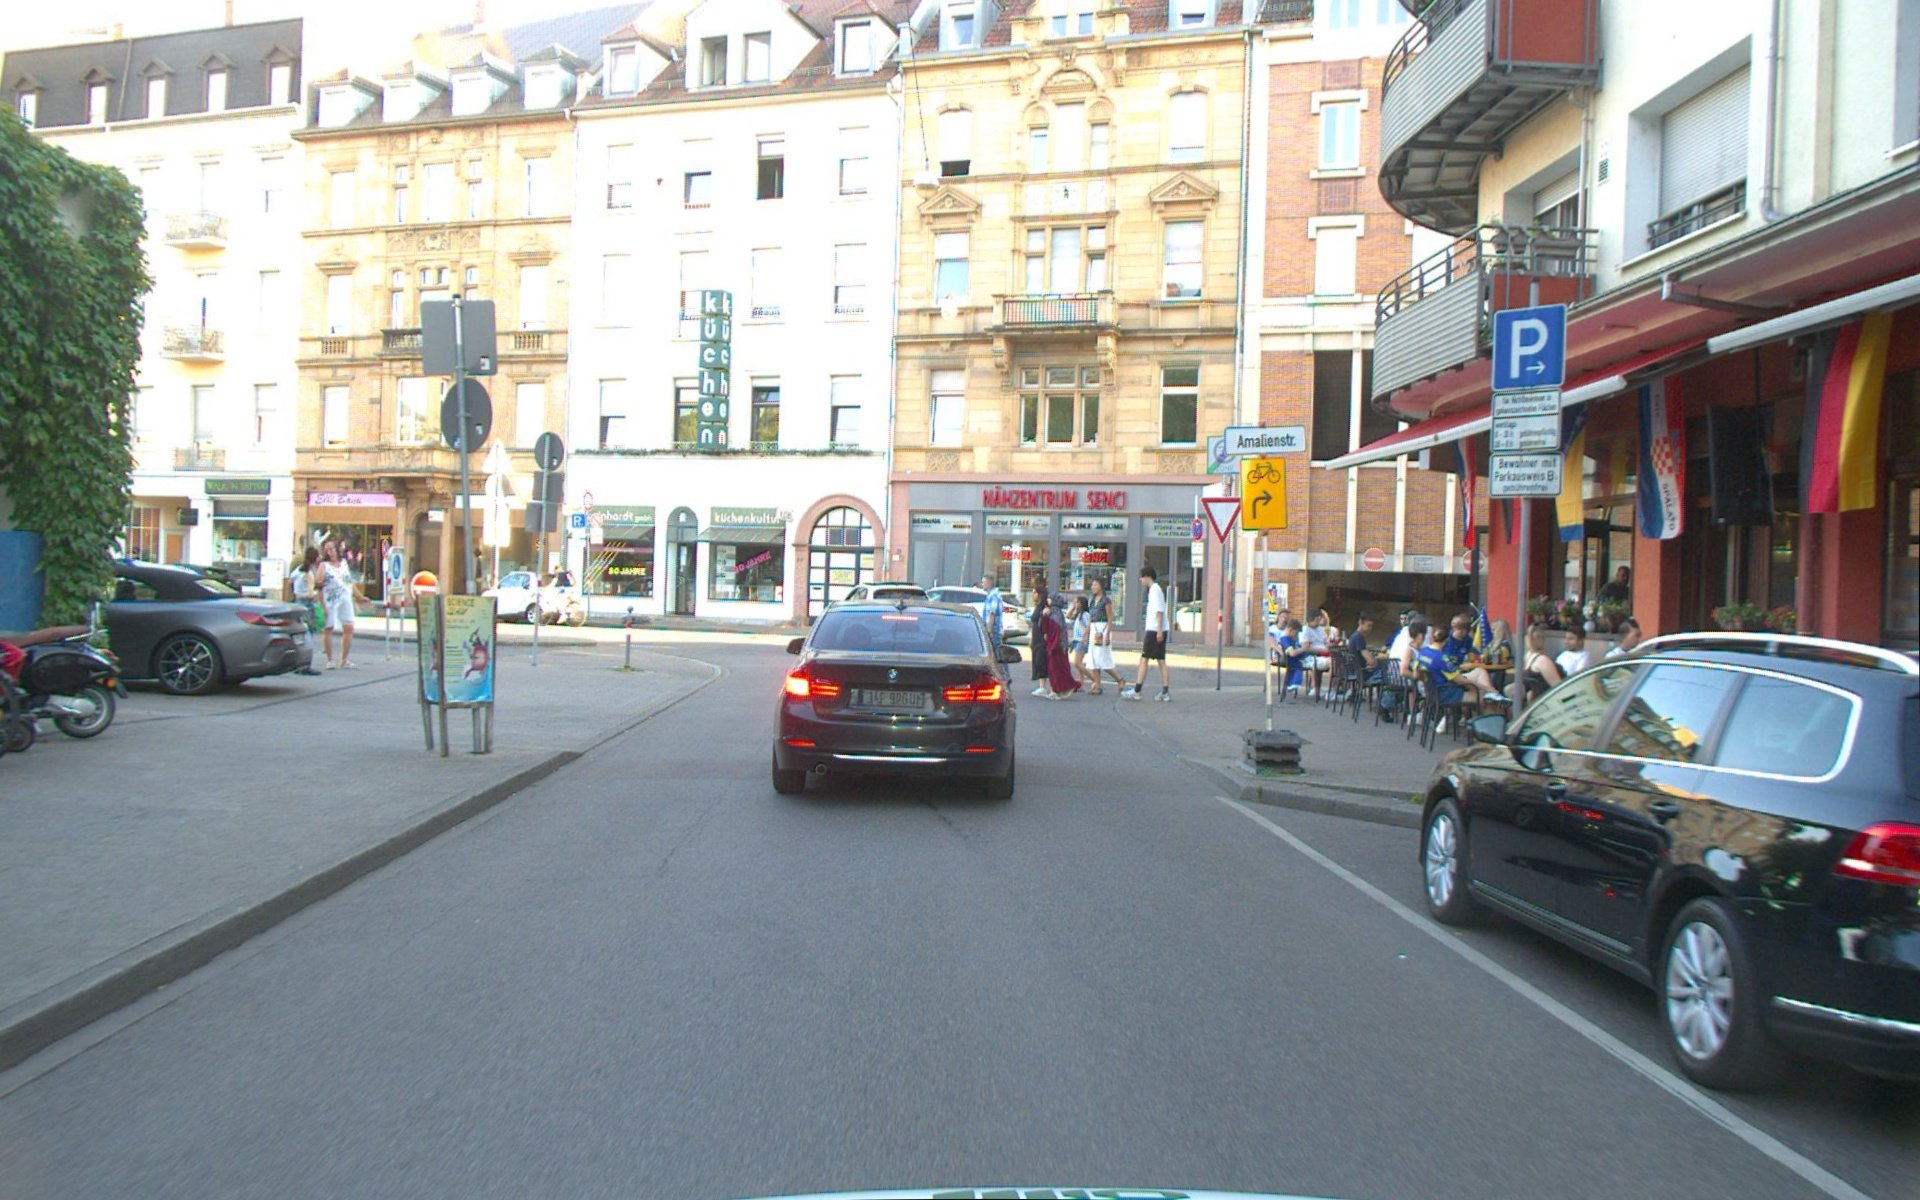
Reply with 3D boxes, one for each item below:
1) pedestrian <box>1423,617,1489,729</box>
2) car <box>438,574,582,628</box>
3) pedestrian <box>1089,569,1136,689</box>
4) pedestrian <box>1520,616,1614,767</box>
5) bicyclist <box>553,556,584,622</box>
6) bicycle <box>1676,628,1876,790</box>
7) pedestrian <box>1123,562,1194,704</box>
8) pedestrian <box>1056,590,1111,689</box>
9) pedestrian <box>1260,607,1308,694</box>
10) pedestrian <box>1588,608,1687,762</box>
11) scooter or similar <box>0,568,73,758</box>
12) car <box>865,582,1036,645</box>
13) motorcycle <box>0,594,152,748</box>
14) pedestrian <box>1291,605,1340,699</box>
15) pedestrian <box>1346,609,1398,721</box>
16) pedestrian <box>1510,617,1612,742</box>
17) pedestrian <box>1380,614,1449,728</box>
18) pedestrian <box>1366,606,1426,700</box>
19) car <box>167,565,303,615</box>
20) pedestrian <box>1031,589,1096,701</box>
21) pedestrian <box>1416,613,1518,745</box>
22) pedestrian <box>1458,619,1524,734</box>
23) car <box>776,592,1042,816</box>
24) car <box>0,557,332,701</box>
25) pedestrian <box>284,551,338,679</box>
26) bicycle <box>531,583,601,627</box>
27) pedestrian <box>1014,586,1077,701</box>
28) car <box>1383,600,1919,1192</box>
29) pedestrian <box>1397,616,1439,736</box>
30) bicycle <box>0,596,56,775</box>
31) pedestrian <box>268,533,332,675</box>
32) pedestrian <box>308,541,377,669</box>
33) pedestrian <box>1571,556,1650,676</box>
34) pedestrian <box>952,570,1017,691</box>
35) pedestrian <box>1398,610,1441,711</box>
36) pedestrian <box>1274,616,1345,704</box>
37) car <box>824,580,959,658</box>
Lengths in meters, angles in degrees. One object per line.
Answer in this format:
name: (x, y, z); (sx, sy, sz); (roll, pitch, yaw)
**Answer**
pedestrian: (5.598, 0.815, 18.676); (0.415, 1.222, 0.560); (-2, 0, -44)
car: (-13.669, 0.038, 50.253); (3.904, 1.537, 1.800); (1, 0, 20)
pedestrian: (2.300, 0.430, 25.019); (0.653, 1.776, 0.607); (1, 0, 4)
pedestrian: (5.414, 0.800, 14.776); (0.672, 1.309, 0.609); (0, 0, 7)
bicyclist: (-10.738, -0.299, 45.353); (0.604, 1.787, 0.526); (2, 0, 10)
bicycle: (6.297, 0.809, 12.871); (0.525, 1.174, 1.741); (0, -2, -7)
pedestrian: (2.758, 0.446, 22.942); (0.686, 1.910, 0.676); (2, 0, 33)
pedestrian: (1.906, 0.599, 25.558); (0.798, 1.500, 0.607); (1, 0, 2)
pedestrian: (4.893, 0.753, 24.987); (0.604, 1.276, 0.736); (1, 0, 3)
pedestrian: (6.201, 0.760, 15.159); (0.594, 1.371, 0.696); (0, 0, -3)
scooter or similar: (-6.951, 0.420, 11.577); (1.186, 1.296, 0.420); (3, 0, -18)
car: (-0.251, 0.349, 44.951); (4.262, 1.589, 1.869); (1, 0, 20)
motorcycle: (-7.112, 0.526, 12.467); (1.732, 1.120, 0.560); (3, 0, -37)
pedestrian: (5.099, 0.736, 23.759); (0.604, 1.306, 0.660); (1, 0, 6)
pedestrian: (5.010, 0.780, 20.127); (0.481, 1.326, 0.418); (-1, 0, -2)
pedestrian: (6.228, 0.811, 17.176); (0.763, 1.244, 0.714); (-1, 0, -2)
pedestrian: (5.348, 0.824, 19.472); (0.622, 1.298, 0.504); (-2, 0, -40)
pedestrian: (6.198, 0.739, 23.529); (0.606, 1.301, 0.698); (1, 0, 35)
car: (-23.728, -0.331, 54.141); (3.904, 1.537, 1.800); (1, 0, 20)
pedestrian: (1.471, 0.638, 23.590); (0.722, 1.540, 0.648); (3, 0, -11)
pedestrian: (5.080, 0.781, 16.598); (0.841, 1.279, 0.491); (-1, 0, -3)
pedestrian: (5.779, 0.824, 18.007); (0.528, 1.222, 0.415); (-1, 0, 45)
car: (-0.414, 0.691, 13.483); (1.729, 1.399, 4.789); (2, 1, -2)
car: (-9.413, 0.309, 18.821); (3.915, 1.527, 1.887); (1, 1, -11)
pedestrian: (-8.638, 0.193, 22.015); (0.490, 1.672, 0.520); (1, 0, 0)
bicycle: (-10.796, 0.138, 45.364); (1.756, 1.127, 0.538); (2, 0, 10)
pedestrian: (1.248, 0.627, 24.221); (0.711, 1.637, 0.648); (3, 0, -11)
car: (3.345, 0.852, 6.872); (1.730, 1.528, 4.789); (4, 1, -2)
pedestrian: (4.948, 0.816, 17.875); (0.336, 1.279, 0.359); (-1, 0, 29)
bicycle: (-6.956, 0.508, 10.794); (1.758, 1.127, 0.500); (3, 0, -3)
pedestrian: (-9.024, 0.050, 22.627); (0.571, 1.915, 0.634); (1, 0, 3)
pedestrian: (-8.725, 0.060, 23.378); (0.661, 1.776, 0.654); (1, 0, 37)
pedestrian: (9.091, 0.217, 23.123); (0.705, 1.635, 0.682); (3, 0, -29)
pedestrian: (0.378, 0.456, 25.057); (0.876, 1.755, 0.608); (3, 2, 4)
pedestrian: (6.047, 0.785, 21.776); (0.479, 1.299, 0.522); (1, 0, 11)
pedestrian: (4.833, 0.817, 22.885); (0.871, 1.170, 0.619); (1, 0, 5)
car: (-1.498, 0.353, 34.469); (1.848, 1.498, 3.981); (1, 1, -17)
